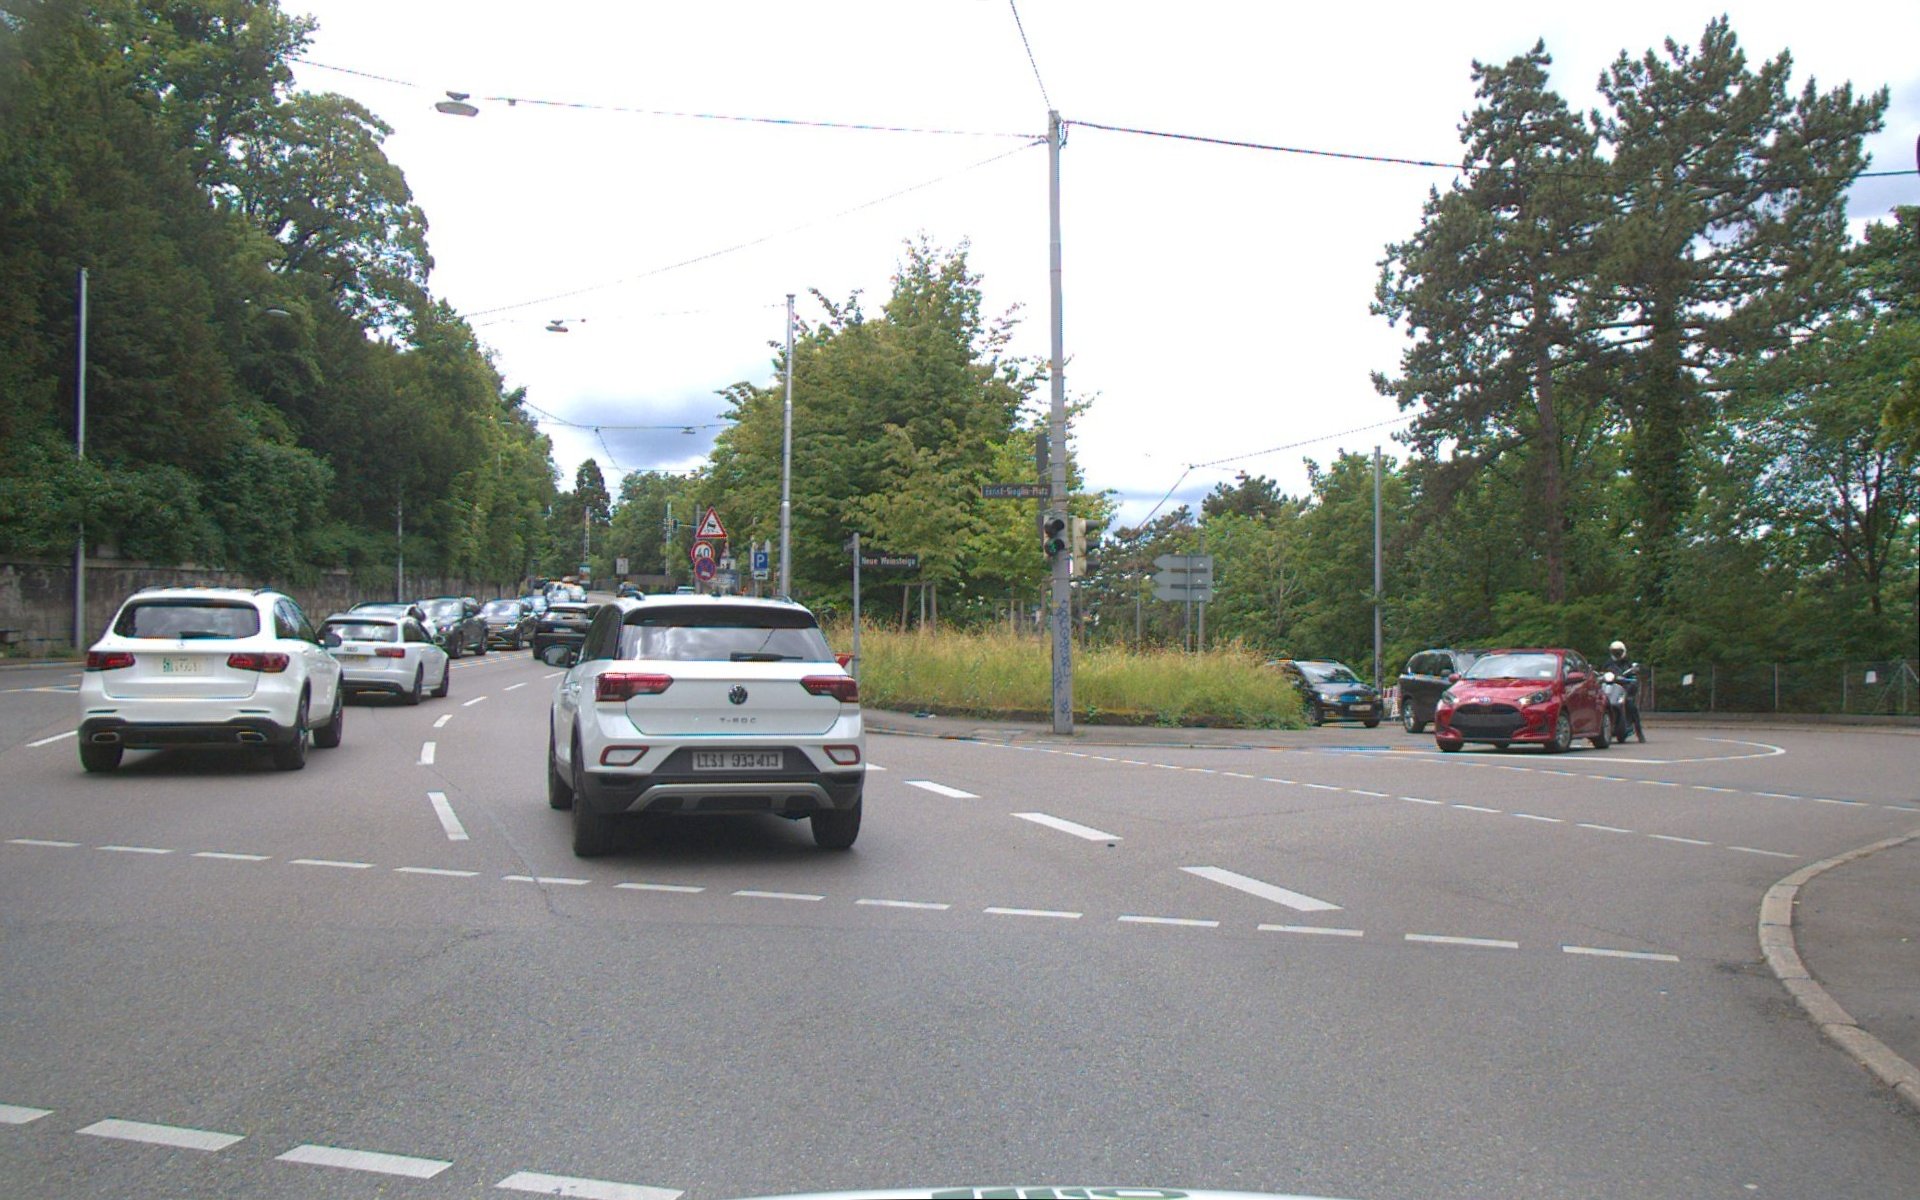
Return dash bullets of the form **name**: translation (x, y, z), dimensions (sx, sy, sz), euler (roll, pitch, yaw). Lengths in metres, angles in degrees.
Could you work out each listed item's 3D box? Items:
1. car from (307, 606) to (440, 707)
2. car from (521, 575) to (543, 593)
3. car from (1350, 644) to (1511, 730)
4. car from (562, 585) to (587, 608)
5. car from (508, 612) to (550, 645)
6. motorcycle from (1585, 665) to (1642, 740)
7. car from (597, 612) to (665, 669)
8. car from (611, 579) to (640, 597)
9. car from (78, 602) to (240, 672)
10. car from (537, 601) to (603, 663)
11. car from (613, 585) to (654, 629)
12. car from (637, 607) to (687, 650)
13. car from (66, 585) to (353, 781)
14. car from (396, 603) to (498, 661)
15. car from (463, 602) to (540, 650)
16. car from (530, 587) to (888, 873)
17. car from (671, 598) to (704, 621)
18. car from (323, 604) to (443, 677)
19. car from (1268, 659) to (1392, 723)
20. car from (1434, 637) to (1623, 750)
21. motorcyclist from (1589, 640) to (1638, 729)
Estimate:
- **car**: translation (-9.961, 0.932, 28.373), dimensions (1.835, 1.561, 4.754), euler (2, -1, -16)
- **car**: translation (-46.778, -1.734, 180.593), dimensions (1.725, 1.817, 3.971), euler (1, 0, -23)
- **car**: translation (9.960, 1.868, 35.413), dimensions (1.778, 1.706, 4.672), euler (0, -3, -5)
- **car**: translation (-26.441, -0.241, 113.578), dimensions (1.618, 1.476, 3.535), euler (1, 1, -13)
- **car**: translation (-21.099, 1.401, 81.081), dimensions (1.620, 1.544, 3.841), euler (2, -2, -10)
- **motorcycle**: translation (10.925, 1.694, 27.629), dimensions (0.588, 1.172, 1.577), euler (-3, -2, 31)
- **car**: translation (-9.009, 1.083, 45.484), dimensions (1.598, 1.444, 3.847), euler (2, 0, -9)
- **car**: translation (-28.868, -1.049, 142.609), dimensions (1.627, 1.476, 3.515), euler (1, 0, -27)
- **car**: translation (-18.196, 0.827, 37.770), dimensions (1.605, 1.430, 4.065), euler (2, -1, 1)
- **car**: translation (-11.876, 0.950, 50.538), dimensions (1.756, 1.665, 3.726), euler (2, 1, -11)
- **car**: translation (-14.208, 0.295, 71.866), dimensions (1.605, 1.851, 3.987), euler (-1, 0, -13)
- **car**: translation (-10.753, 1.015, 59.824), dimensions (1.653, 1.449, 3.702), euler (1, 1, -9)
- **car**: translation (-7.195, 0.734, 16.342), dimensions (1.828, 1.634, 4.651), euler (1, -1, -15)
- **car**: translation (-15.380, 0.941, 49.816), dimensions (1.856, 1.594, 4.476), euler (3, -1, -3)
- **car**: translation (-15.590, 0.853, 56.384), dimensions (1.782, 1.465, 4.058), euler (2, 1, -5)
- **car**: translation (-1.931, 0.727, 11.475), dimensions (1.728, 1.580, 4.313), euler (0, 0, -19)
- **car**: translation (-17.875, 0.633, 108.549), dimensions (1.621, 1.476, 3.528), euler (1, 0, -18)
- **car**: translation (-14.655, 1.000, 42.226), dimensions (1.956, 1.665, 4.390), euler (3, -1, -8)
- **car**: translation (9.074, 2.238, 40.874), dimensions (1.684, 1.512, 3.992), euler (0, -3, -8)
- **car**: translation (8.329, 1.345, 24.043), dimensions (1.638, 1.494, 3.943), euler (-2, -4, 33)
- **motorcyclist**: translation (10.908, 1.410, 27.610), dimensions (0.588, 1.455, 0.755), euler (-3, -2, 31)
